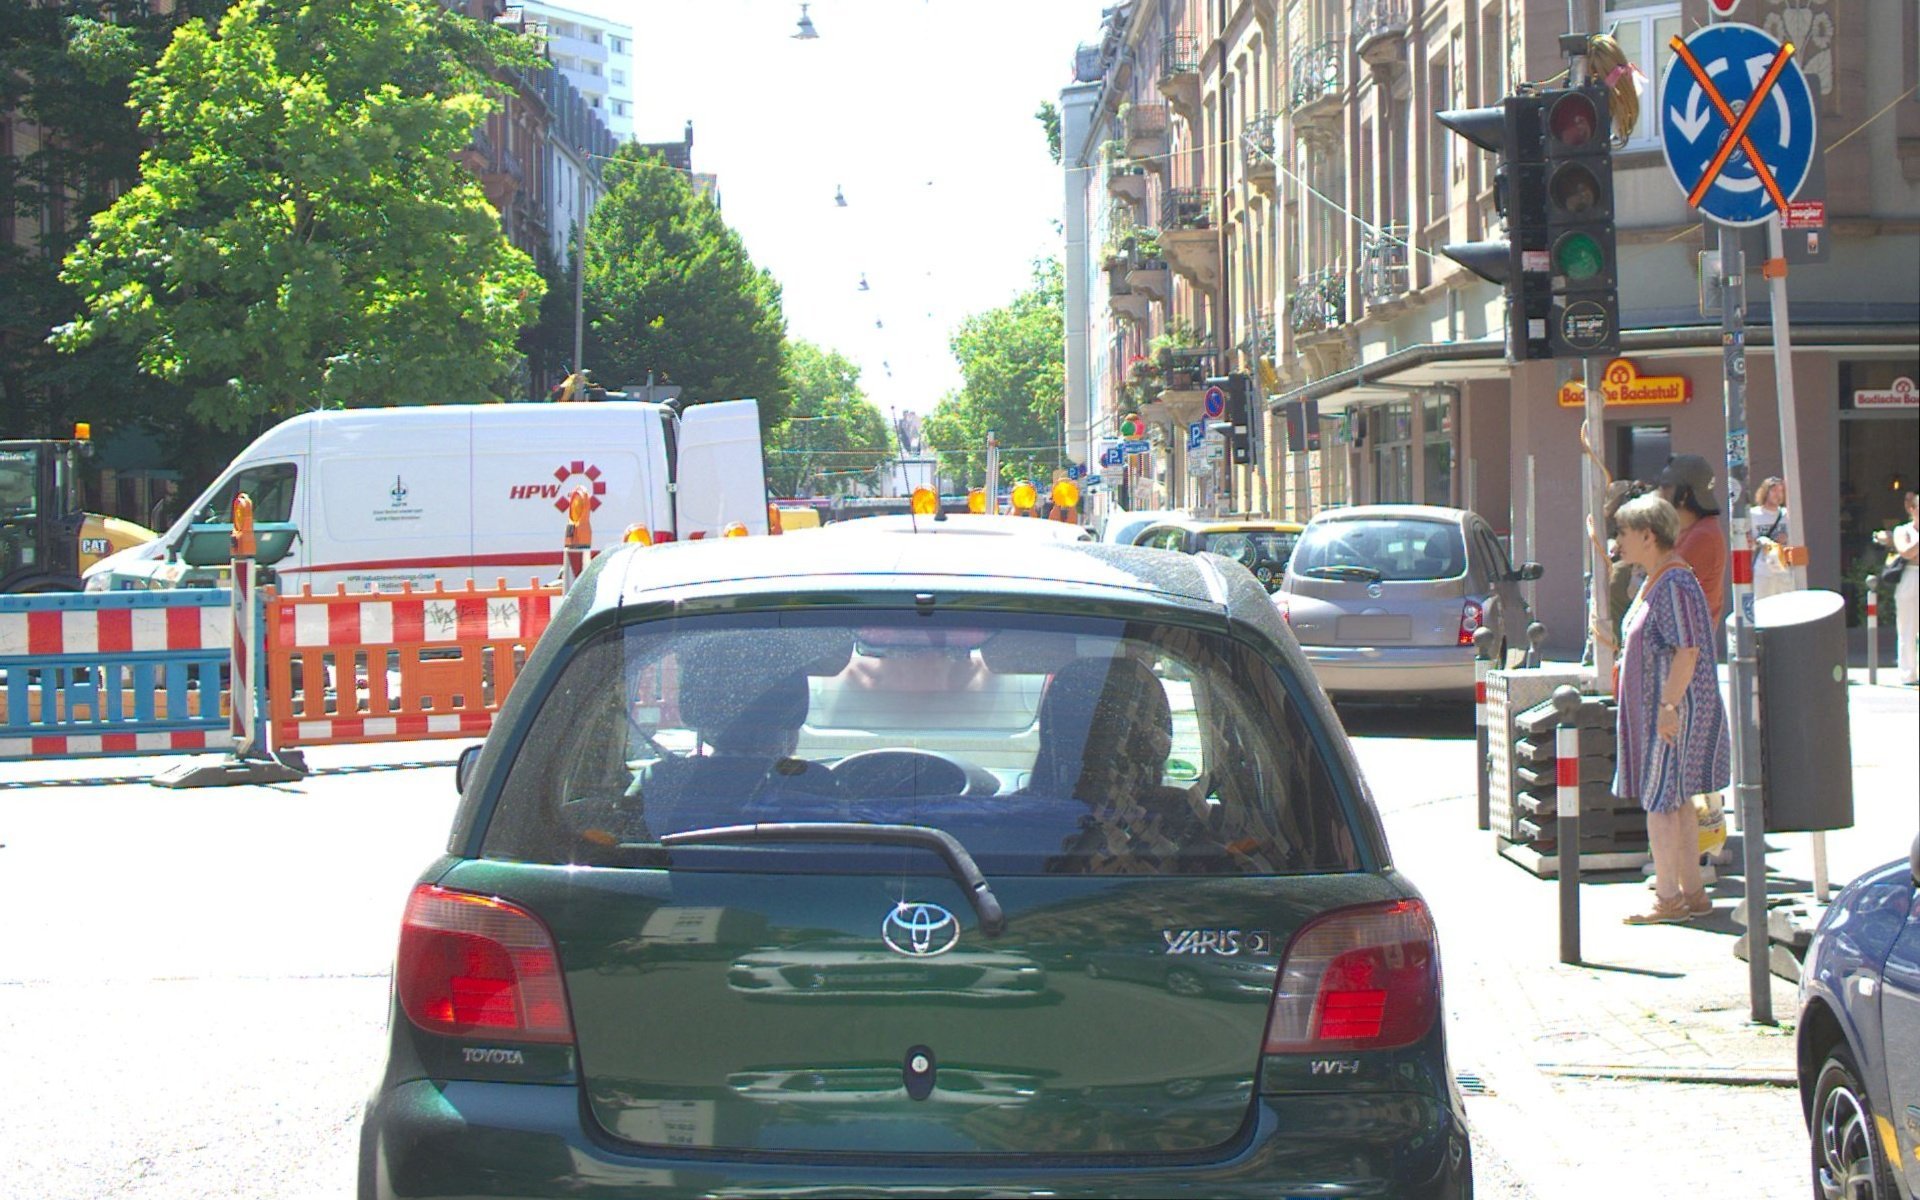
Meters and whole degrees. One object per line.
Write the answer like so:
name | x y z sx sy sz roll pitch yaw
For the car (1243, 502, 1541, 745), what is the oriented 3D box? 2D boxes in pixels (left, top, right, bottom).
car | 3.118 0.111 24.353 1.523 1.587 3.261 0 2 17

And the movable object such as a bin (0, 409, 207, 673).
movable object such as a bin | -10.375 -0.648 35.919 4.543 2.650 1.955 1 1 0

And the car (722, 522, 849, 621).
car | -2.664 -0.463 53.299 1.754 1.439 4.000 -1 1 0

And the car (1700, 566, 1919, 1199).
car | 2.414 0.671 5.216 1.627 1.427 3.661 -2 1 -2

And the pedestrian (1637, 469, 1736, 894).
pedestrian | 2.890 0.317 13.695 0.332 1.670 0.401 -1 1 6

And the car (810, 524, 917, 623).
car | -1.725 -0.517 62.807 1.754 1.639 4.378 -4 1 0

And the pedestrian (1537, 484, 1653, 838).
pedestrian | 2.835 0.263 15.365 0.459 1.555 0.479 -1 1 6

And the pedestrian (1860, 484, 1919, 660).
pedestrian | 8.845 -0.268 31.933 0.801 1.618 0.643 -1 1 2

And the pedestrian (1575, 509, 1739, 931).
pedestrian | 2.613 0.441 12.909 0.493 1.538 0.436 -3 1 6

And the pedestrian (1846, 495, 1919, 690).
pedestrian | 8.170 -0.073 30.017 0.701 1.639 0.423 -3 5 -8

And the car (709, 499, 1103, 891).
car | -0.238 0.327 15.061 1.522 1.516 3.264 -1 2 -1

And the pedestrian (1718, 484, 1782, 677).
pedestrian | 7.170 -0.177 31.175 0.478 1.727 0.871 0 0 19

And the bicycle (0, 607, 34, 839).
bicycle | -5.486 0.580 17.018 1.806 1.115 0.467 2 2 21

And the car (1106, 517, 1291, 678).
car | 2.357 -0.063 33.332 1.627 1.427 3.660 -2 1 6

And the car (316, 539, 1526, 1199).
car | -0.028 0.637 6.218 1.614 1.480 3.241 0 1 1

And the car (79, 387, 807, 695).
car | -4.876 -0.576 33.221 6.622 2.742 2.380 1 1 1

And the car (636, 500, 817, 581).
car | -6.447 -1.654 95.113 4.557 2.180 2.000 -1 1 -27
